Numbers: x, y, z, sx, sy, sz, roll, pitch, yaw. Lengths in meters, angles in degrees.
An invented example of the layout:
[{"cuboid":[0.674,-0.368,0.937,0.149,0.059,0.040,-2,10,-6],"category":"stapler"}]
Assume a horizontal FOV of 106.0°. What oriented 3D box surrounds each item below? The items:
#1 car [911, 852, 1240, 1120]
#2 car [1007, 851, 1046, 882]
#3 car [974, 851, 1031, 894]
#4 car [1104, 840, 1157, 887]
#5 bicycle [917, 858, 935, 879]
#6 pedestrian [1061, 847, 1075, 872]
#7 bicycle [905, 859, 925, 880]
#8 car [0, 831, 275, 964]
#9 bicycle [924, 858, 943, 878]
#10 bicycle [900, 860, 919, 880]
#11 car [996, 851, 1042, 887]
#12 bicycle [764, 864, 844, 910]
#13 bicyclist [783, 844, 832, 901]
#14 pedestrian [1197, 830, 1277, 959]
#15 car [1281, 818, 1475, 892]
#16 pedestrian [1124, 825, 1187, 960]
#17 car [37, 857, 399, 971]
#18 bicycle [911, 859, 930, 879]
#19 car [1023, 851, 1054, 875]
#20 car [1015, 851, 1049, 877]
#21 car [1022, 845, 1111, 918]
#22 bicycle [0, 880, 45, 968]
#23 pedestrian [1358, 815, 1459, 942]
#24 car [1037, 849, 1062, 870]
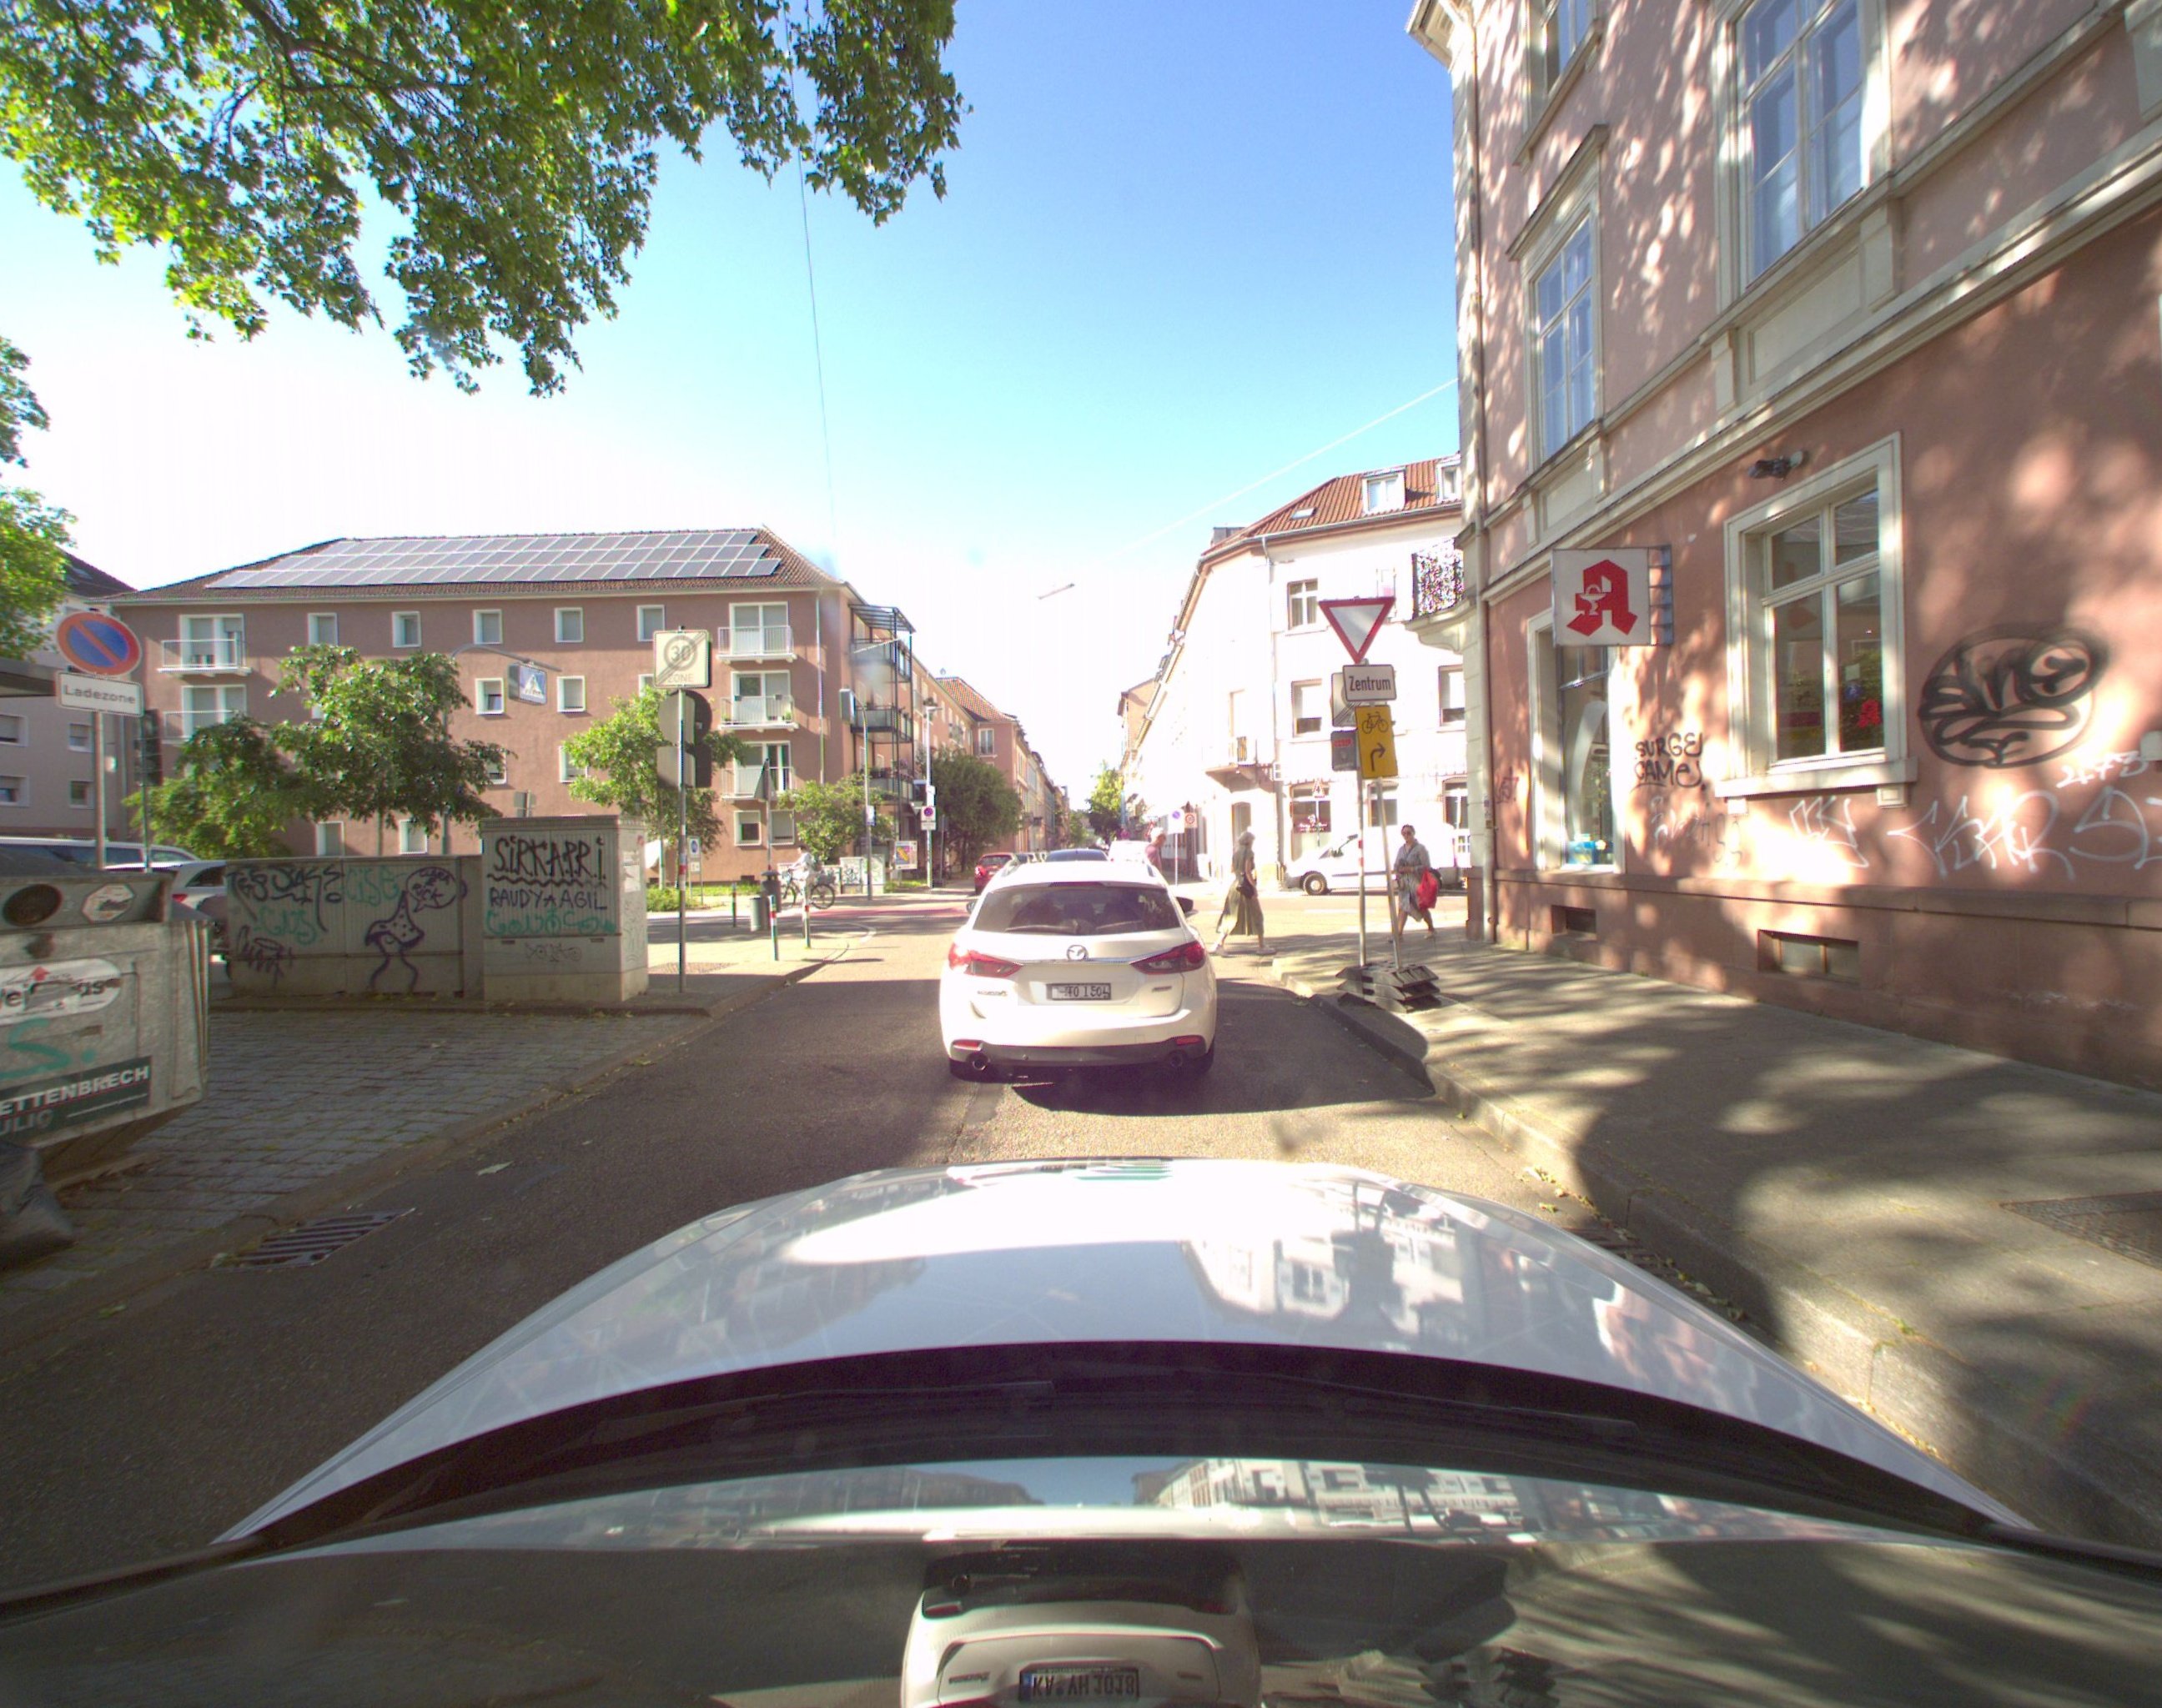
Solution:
[{"cuboid":[0.030,0.742,6.588,1.824,1.457,3.964,-2,0,2],"category":"car"},{"cuboid":[-2.812,0.633,42.633,1.647,1.500,3.764,-1,0,2],"category":"car"},{"cuboid":[-2.972,0.656,31.499,1.678,1.500,3.808,-1,0,2],"category":"car"},{"cuboid":[2.048,0.382,34.958,1.889,1.859,5.012,1,0,-1],"category":"car"},{"cuboid":[-8.243,0.775,43.263,1.201,1.071,0.255,-1,0,40],"category":"bicycle"},{"cuboid":[-0.879,0.351,54.598,0.733,1.614,0.813,-2,0,-11],"category":"pedestrian"},{"cuboid":[-8.714,0.810,42.735,1.201,1.072,0.268,-1,0,40],"category":"bicycle"},{"cuboid":[-17.376,0.726,14.200,1.947,2.006,4.742,-2,-1,-1],"category":"car"},{"cuboid":[-7.853,0.755,43.352,1.204,1.071,0.255,-1,0,40],"category":"bicycle"},{"cuboid":[-8.958,0.833,42.491,1.201,1.035,0.293,-1,0,40],"category":"bicycle"},{"cuboid":[-2.788,0.655,37.419,1.647,1.500,4.081,-1,0,2],"category":"car"},{"cuboid":[-7.621,0.903,22.455,1.940,1.198,0.630,-2,0,1],"category":"bicycle"},{"cuboid":[-7.552,0.494,22.495,1.038,1.519,0.739,-2,0,1],"category":"bicyclist"},{"cuboid":[2.146,0.554,11.285,0.833,1.667,0.626,-6,-2,1],"category":"pedestrian"},{"cuboid":[8.469,0.061,23.259,4.963,1.946,2.063,-1,0,26],"category":"car"},{"cuboid":[1.005,0.504,11.216,0.747,1.764,0.831,-2,0,1],"category":"pedestrian"},{"cuboid":[-14.755,0.913,14.378,1.747,1.612,4.304,-2,0,0],"category":"car"},{"cuboid":[-8.478,0.798,43.000,1.201,1.071,0.255,-1,0,40],"category":"bicycle"},{"cuboid":[-2.753,0.574,53.469,1.647,1.500,3.764,-1,0,2],"category":"car"},{"cuboid":[-2.928,0.567,49.184,1.647,1.500,3.764,-1,0,2],"category":"car"},{"cuboid":[-0.215,0.539,18.422,1.754,1.410,4.330,-1,0,2],"category":"car"},{"cuboid":[-14.769,0.941,10.402,0.798,1.153,1.720,0,0,5],"category":"bicycle"},{"cuboid":[4.440,0.323,11.090,0.842,1.573,0.845,-7,-1,-2],"category":"pedestrian"},{"cuboid":[-2.418,0.400,63.692,1.647,1.500,3.764,-1,0,2],"category":"car"}]
